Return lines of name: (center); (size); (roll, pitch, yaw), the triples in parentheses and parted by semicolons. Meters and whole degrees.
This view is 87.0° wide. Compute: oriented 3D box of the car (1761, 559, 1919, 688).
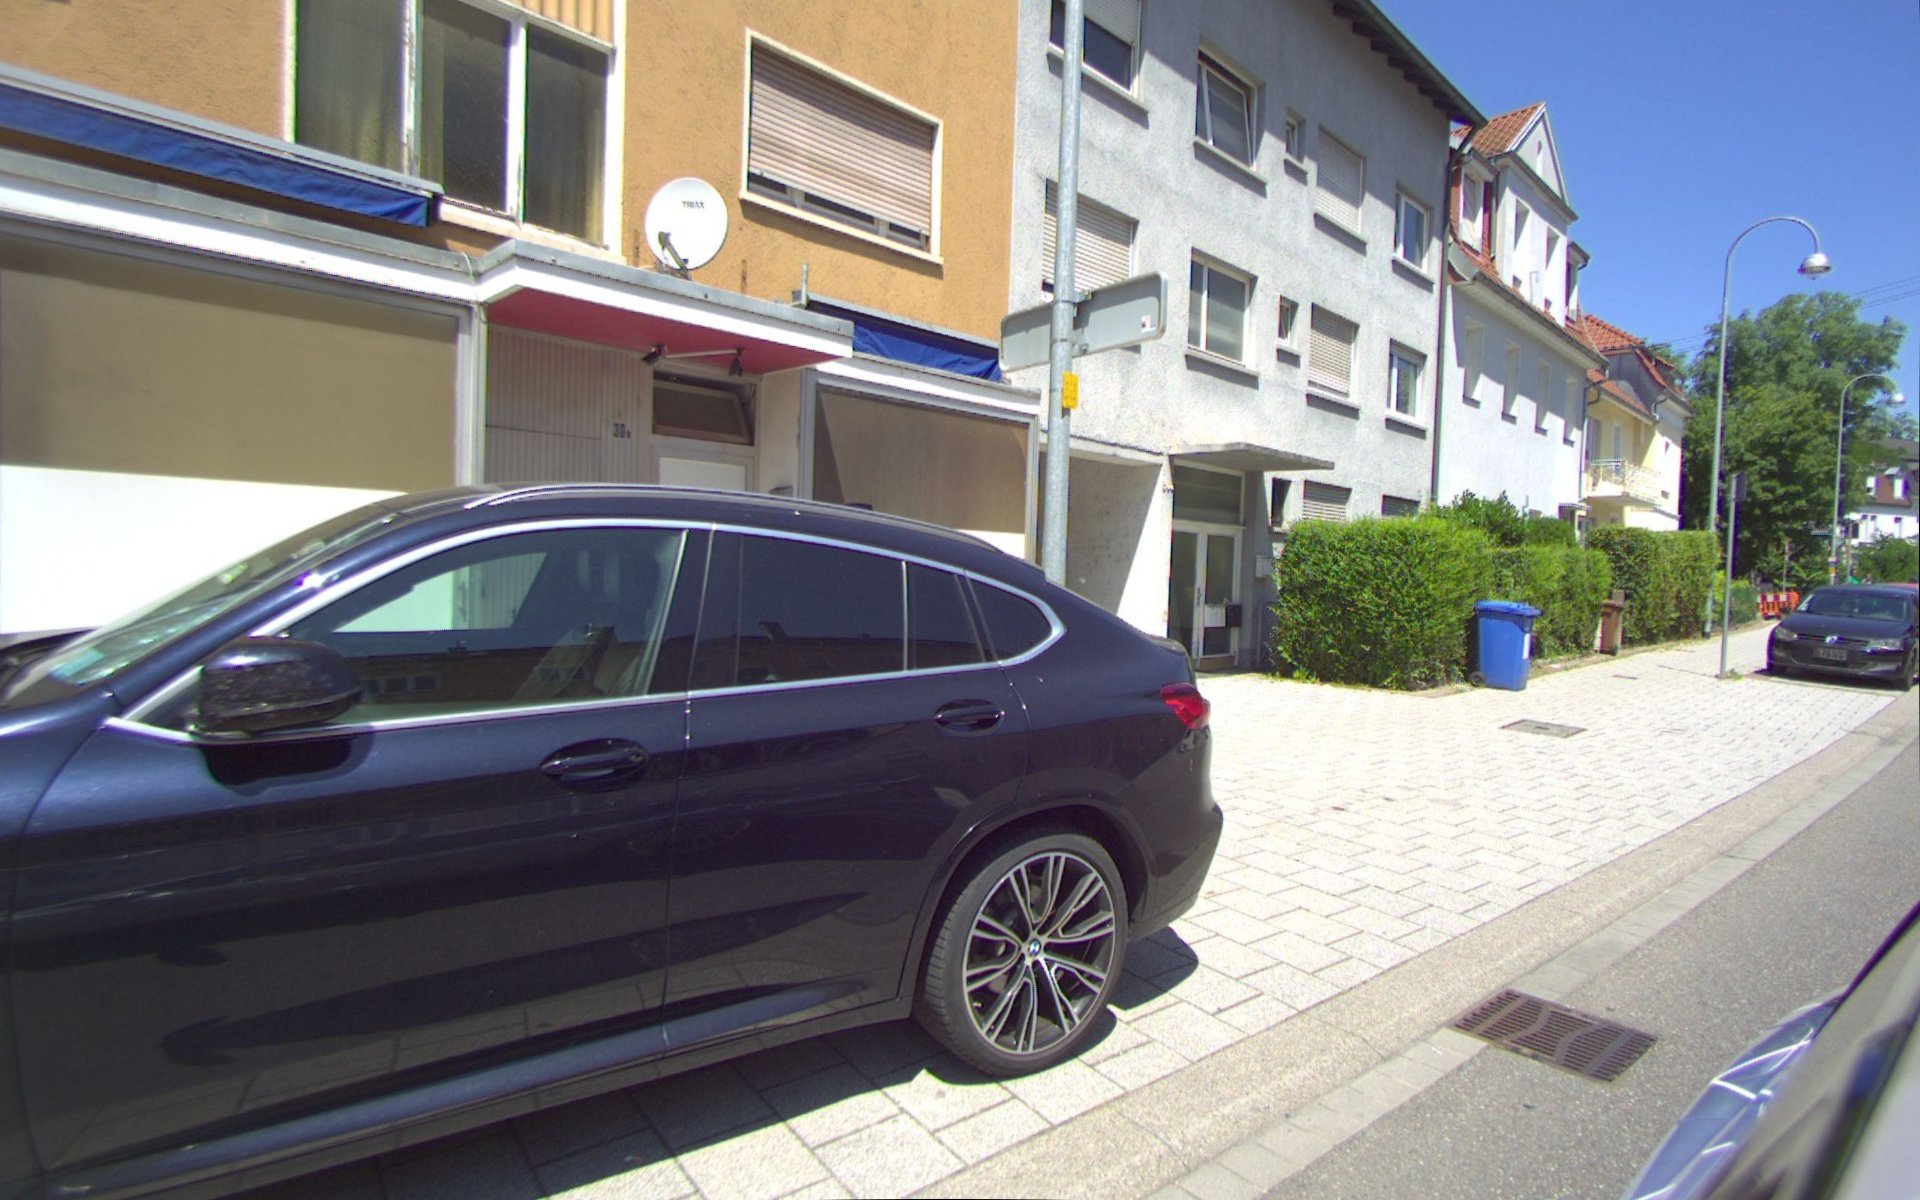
car: (14.088, 0.292, 15.635); (3.927, 1.652, 1.734); (0, 5, -38)

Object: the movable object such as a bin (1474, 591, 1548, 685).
movable object such as a bin: (6.822, 0.450, 12.532); (0.636, 1.090, 0.594); (-1, 4, -42)

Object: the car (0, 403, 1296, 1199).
car: (-1.251, 0.433, 2.893); (4.280, 1.626, 1.903); (0, 4, -33)

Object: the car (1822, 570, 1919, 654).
car: (19.660, 0.199, 21.201); (4.641, 1.492, 1.807); (-1, 6, -43)

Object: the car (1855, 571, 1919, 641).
car: (22.992, 0.116, 24.309); (4.081, 1.548, 1.806); (-1, 3, -43)

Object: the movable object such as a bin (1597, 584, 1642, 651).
movable object such as a bin: (11.363, 0.294, 17.431); (0.546, 1.117, 0.488); (0, 3, -42)

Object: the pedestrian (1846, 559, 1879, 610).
pedestrian: (31.440, -0.544, 35.259); (0.516, 1.726, 0.797); (6, 4, 27)
